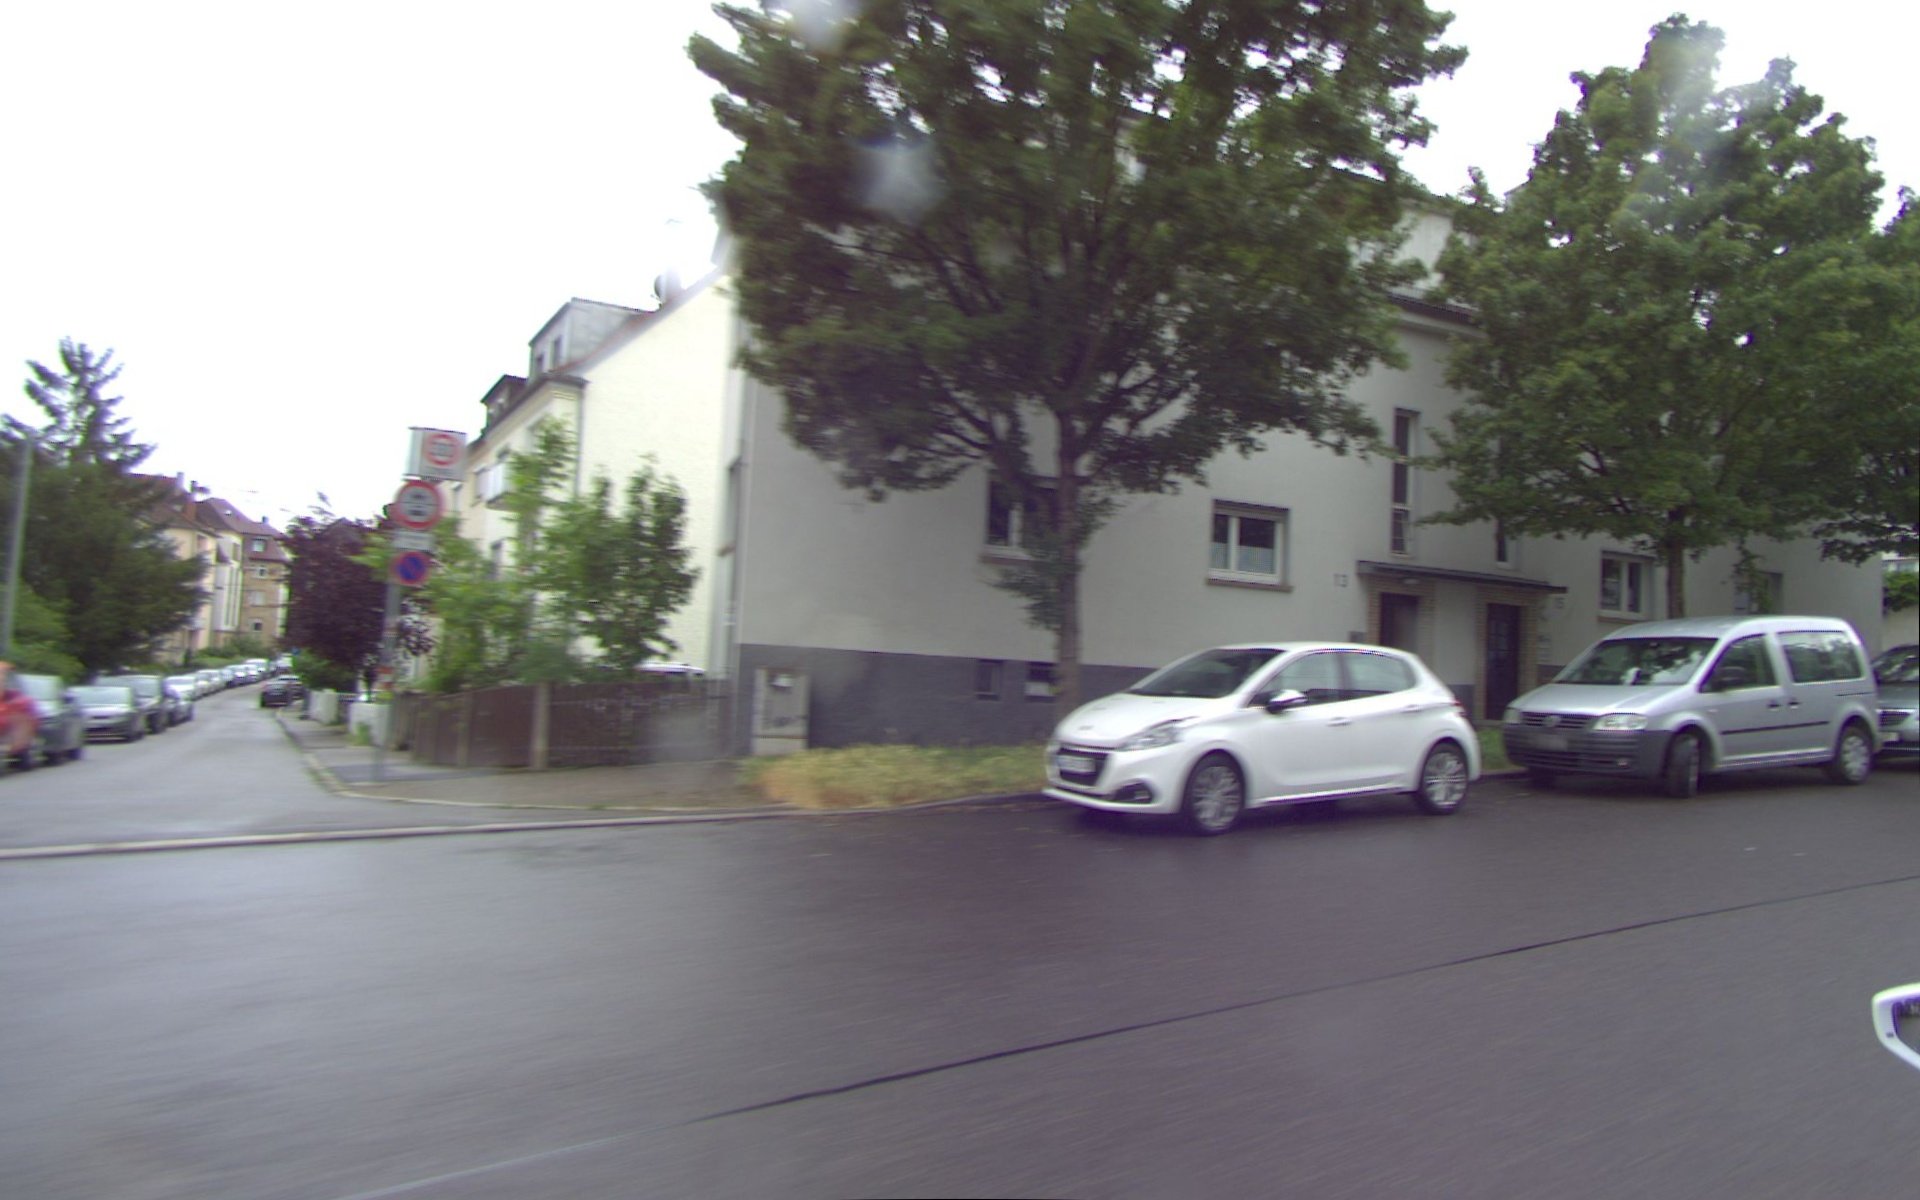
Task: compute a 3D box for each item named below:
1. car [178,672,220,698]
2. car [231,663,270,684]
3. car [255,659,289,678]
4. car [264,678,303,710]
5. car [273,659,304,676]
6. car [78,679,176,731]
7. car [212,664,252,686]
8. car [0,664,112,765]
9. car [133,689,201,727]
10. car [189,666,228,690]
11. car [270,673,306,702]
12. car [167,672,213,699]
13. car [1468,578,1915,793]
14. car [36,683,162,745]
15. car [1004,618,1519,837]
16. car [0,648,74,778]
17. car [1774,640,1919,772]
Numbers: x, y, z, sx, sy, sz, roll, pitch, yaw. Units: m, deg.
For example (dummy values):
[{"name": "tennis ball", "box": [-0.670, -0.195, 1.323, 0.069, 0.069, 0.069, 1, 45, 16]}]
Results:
[{"name": "car", "box": [-50.880, 5.695, 67.209, 1.980, 1.551, 3.965, 3, -8, -34]}, {"name": "car", "box": [-59.046, 6.165, 83.667, 1.974, 1.551, 3.977, 2, -7, -26]}, {"name": "car", "box": [-63.906, 6.389, 93.325, 1.974, 1.551, 3.977, 2, -7, -26]}, {"name": "car", "box": [-42.004, 5.821, 62.435, 1.979, 1.639, 3.963, 1, -1, -33]}, {"name": "car", "box": [-68.471, 6.889, 102.427, 1.973, 1.551, 3.979, 2, -7, -25]}, {"name": "car", "box": [-26.528, 3.374, 32.116, 1.980, 1.551, 3.965, 3, -8, -34]}, {"name": "car", "box": [-57.277, 5.889, 79.109, 1.975, 1.551, 3.974, 2, -7, -28]}, {"name": "car", "box": [-15.273, 1.873, 16.191, 1.980, 1.462, 3.965, 3, -8, -34]}, {"name": "car", "box": [-34.449, 4.713, 43.728, 1.980, 1.551, 3.965, 3, -8, -34]}, {"name": "car", "box": [-52.951, 5.516, 70.858, 1.980, 1.551, 3.965, 3, -8, -34]}, {"name": "car", "box": [-45.594, 5.923, 68.216, 1.979, 1.639, 3.963, 1, -1, -33]}, {"name": "car", "box": [-47.990, 5.359, 62.690, 1.980, 1.551, 3.965, 3, -8, -34]}, {"name": "car", "box": [8.128, 0.895, 11.173, 4.481, 2.027, 1.911, 2, -1, -22]}, {"name": "car", "box": [-22.110, 2.952, 25.952, 1.980, 1.462, 3.965, 3, -8, -34]}, {"name": "car", "box": [2.685, 1.046, 8.838, 4.289, 1.533, 1.779, 3, -5, -26]}, {"name": "car", "box": [-12.701, 1.449, 12.492, 1.980, 1.462, 3.965, 3, -8, -34]}, {"name": "car", "box": [12.737, 1.329, 12.870, 4.175, 1.504, 1.801, 2, -4, -23]}]
